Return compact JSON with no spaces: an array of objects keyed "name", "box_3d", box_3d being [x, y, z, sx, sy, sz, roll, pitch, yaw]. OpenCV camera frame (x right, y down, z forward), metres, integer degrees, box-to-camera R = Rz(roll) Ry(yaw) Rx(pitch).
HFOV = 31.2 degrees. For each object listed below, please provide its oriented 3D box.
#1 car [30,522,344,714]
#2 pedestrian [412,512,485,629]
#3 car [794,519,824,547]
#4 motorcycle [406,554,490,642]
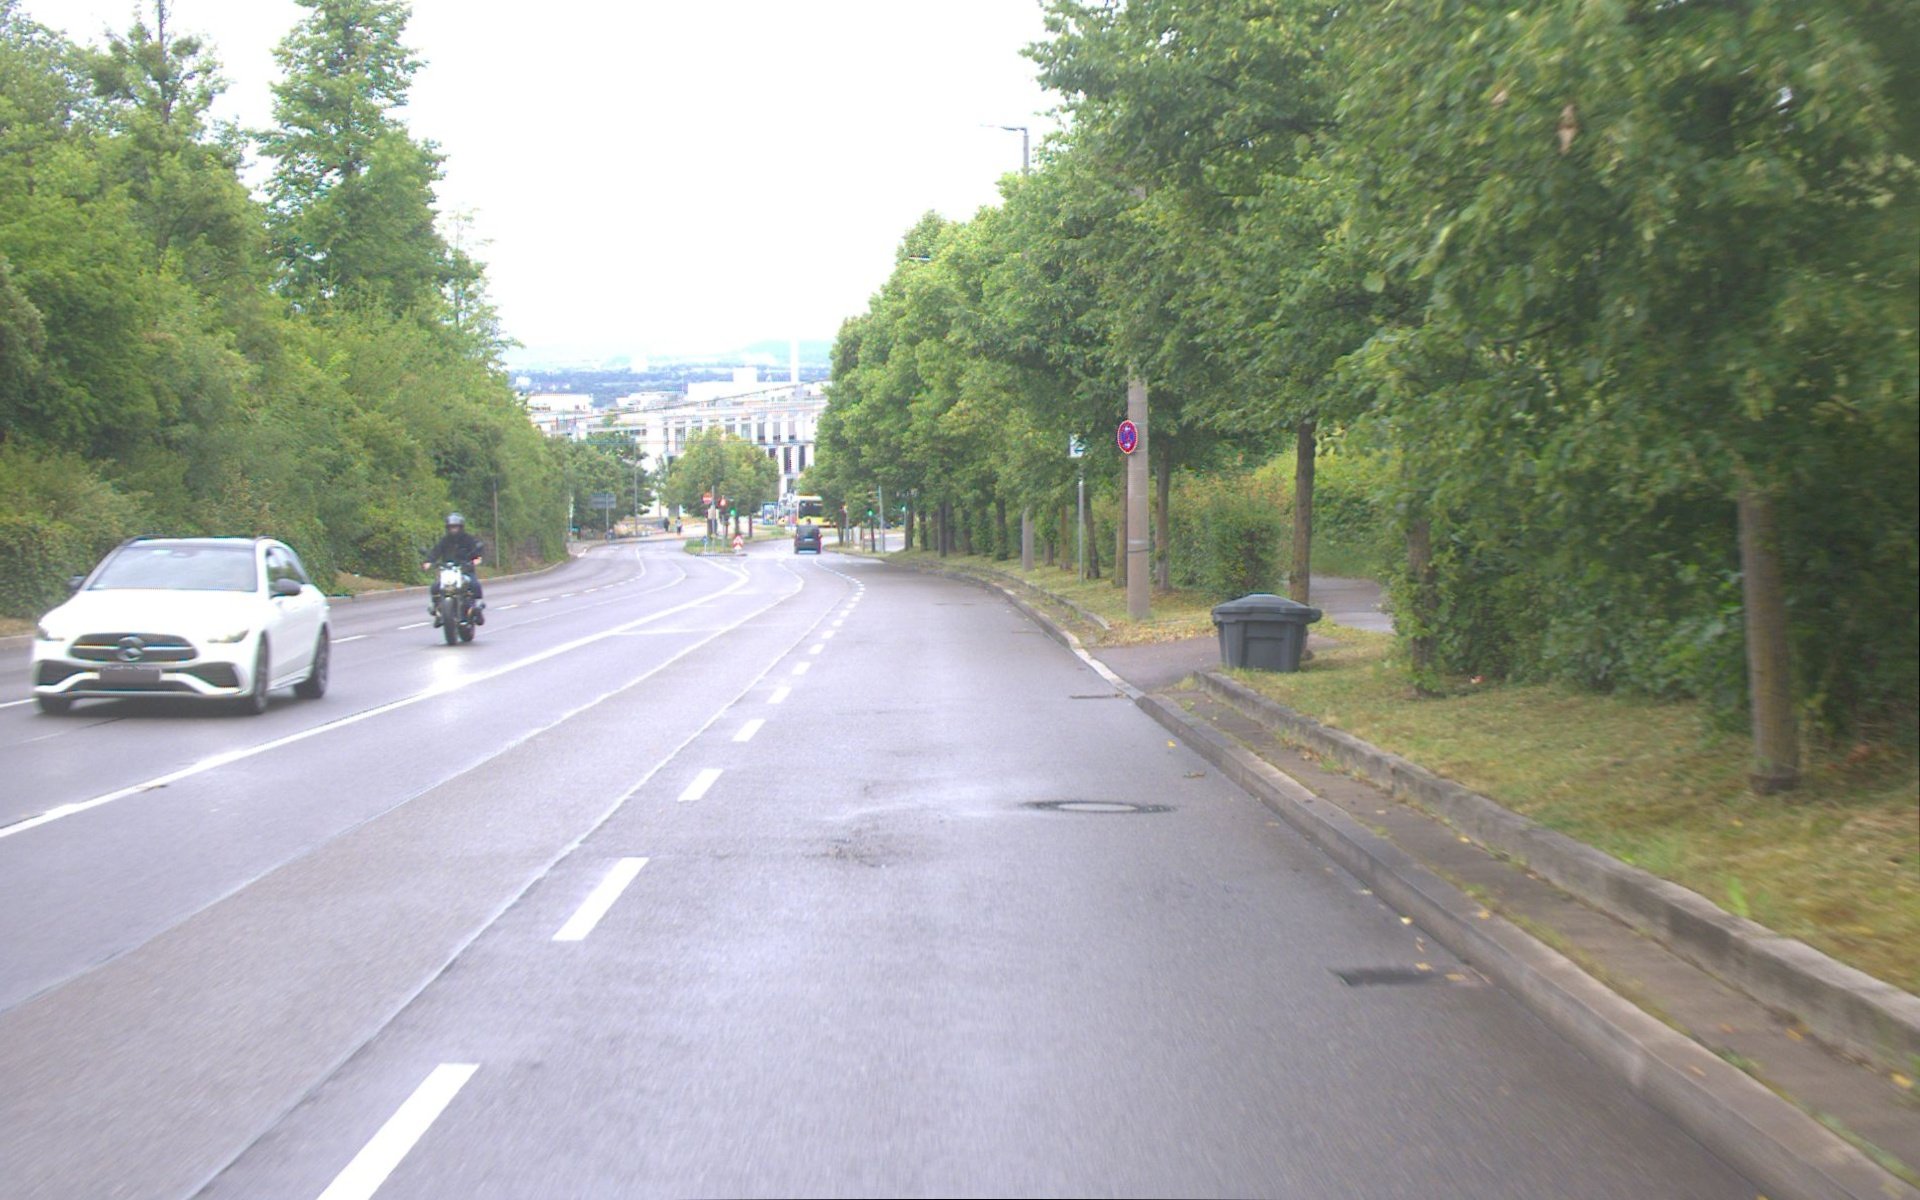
[{"name":"car","box_3d":[-6.560,0.092,29.633,1.715,1.500,4.517,1,1,-1]},{"name":"pedestrian","box_3d":[-6.813,-0.403,45.826,0.805,1.536,1.111,0,1,-1]},{"name":"car","box_3d":[-9.653,-4.283,219.994,1.849,1.696,3.793,1,0,-3]},{"name":"motorcycle","box_3d":[-6.813,-0.037,45.813,0.805,1.127,2.231,0,1,-1]}]
